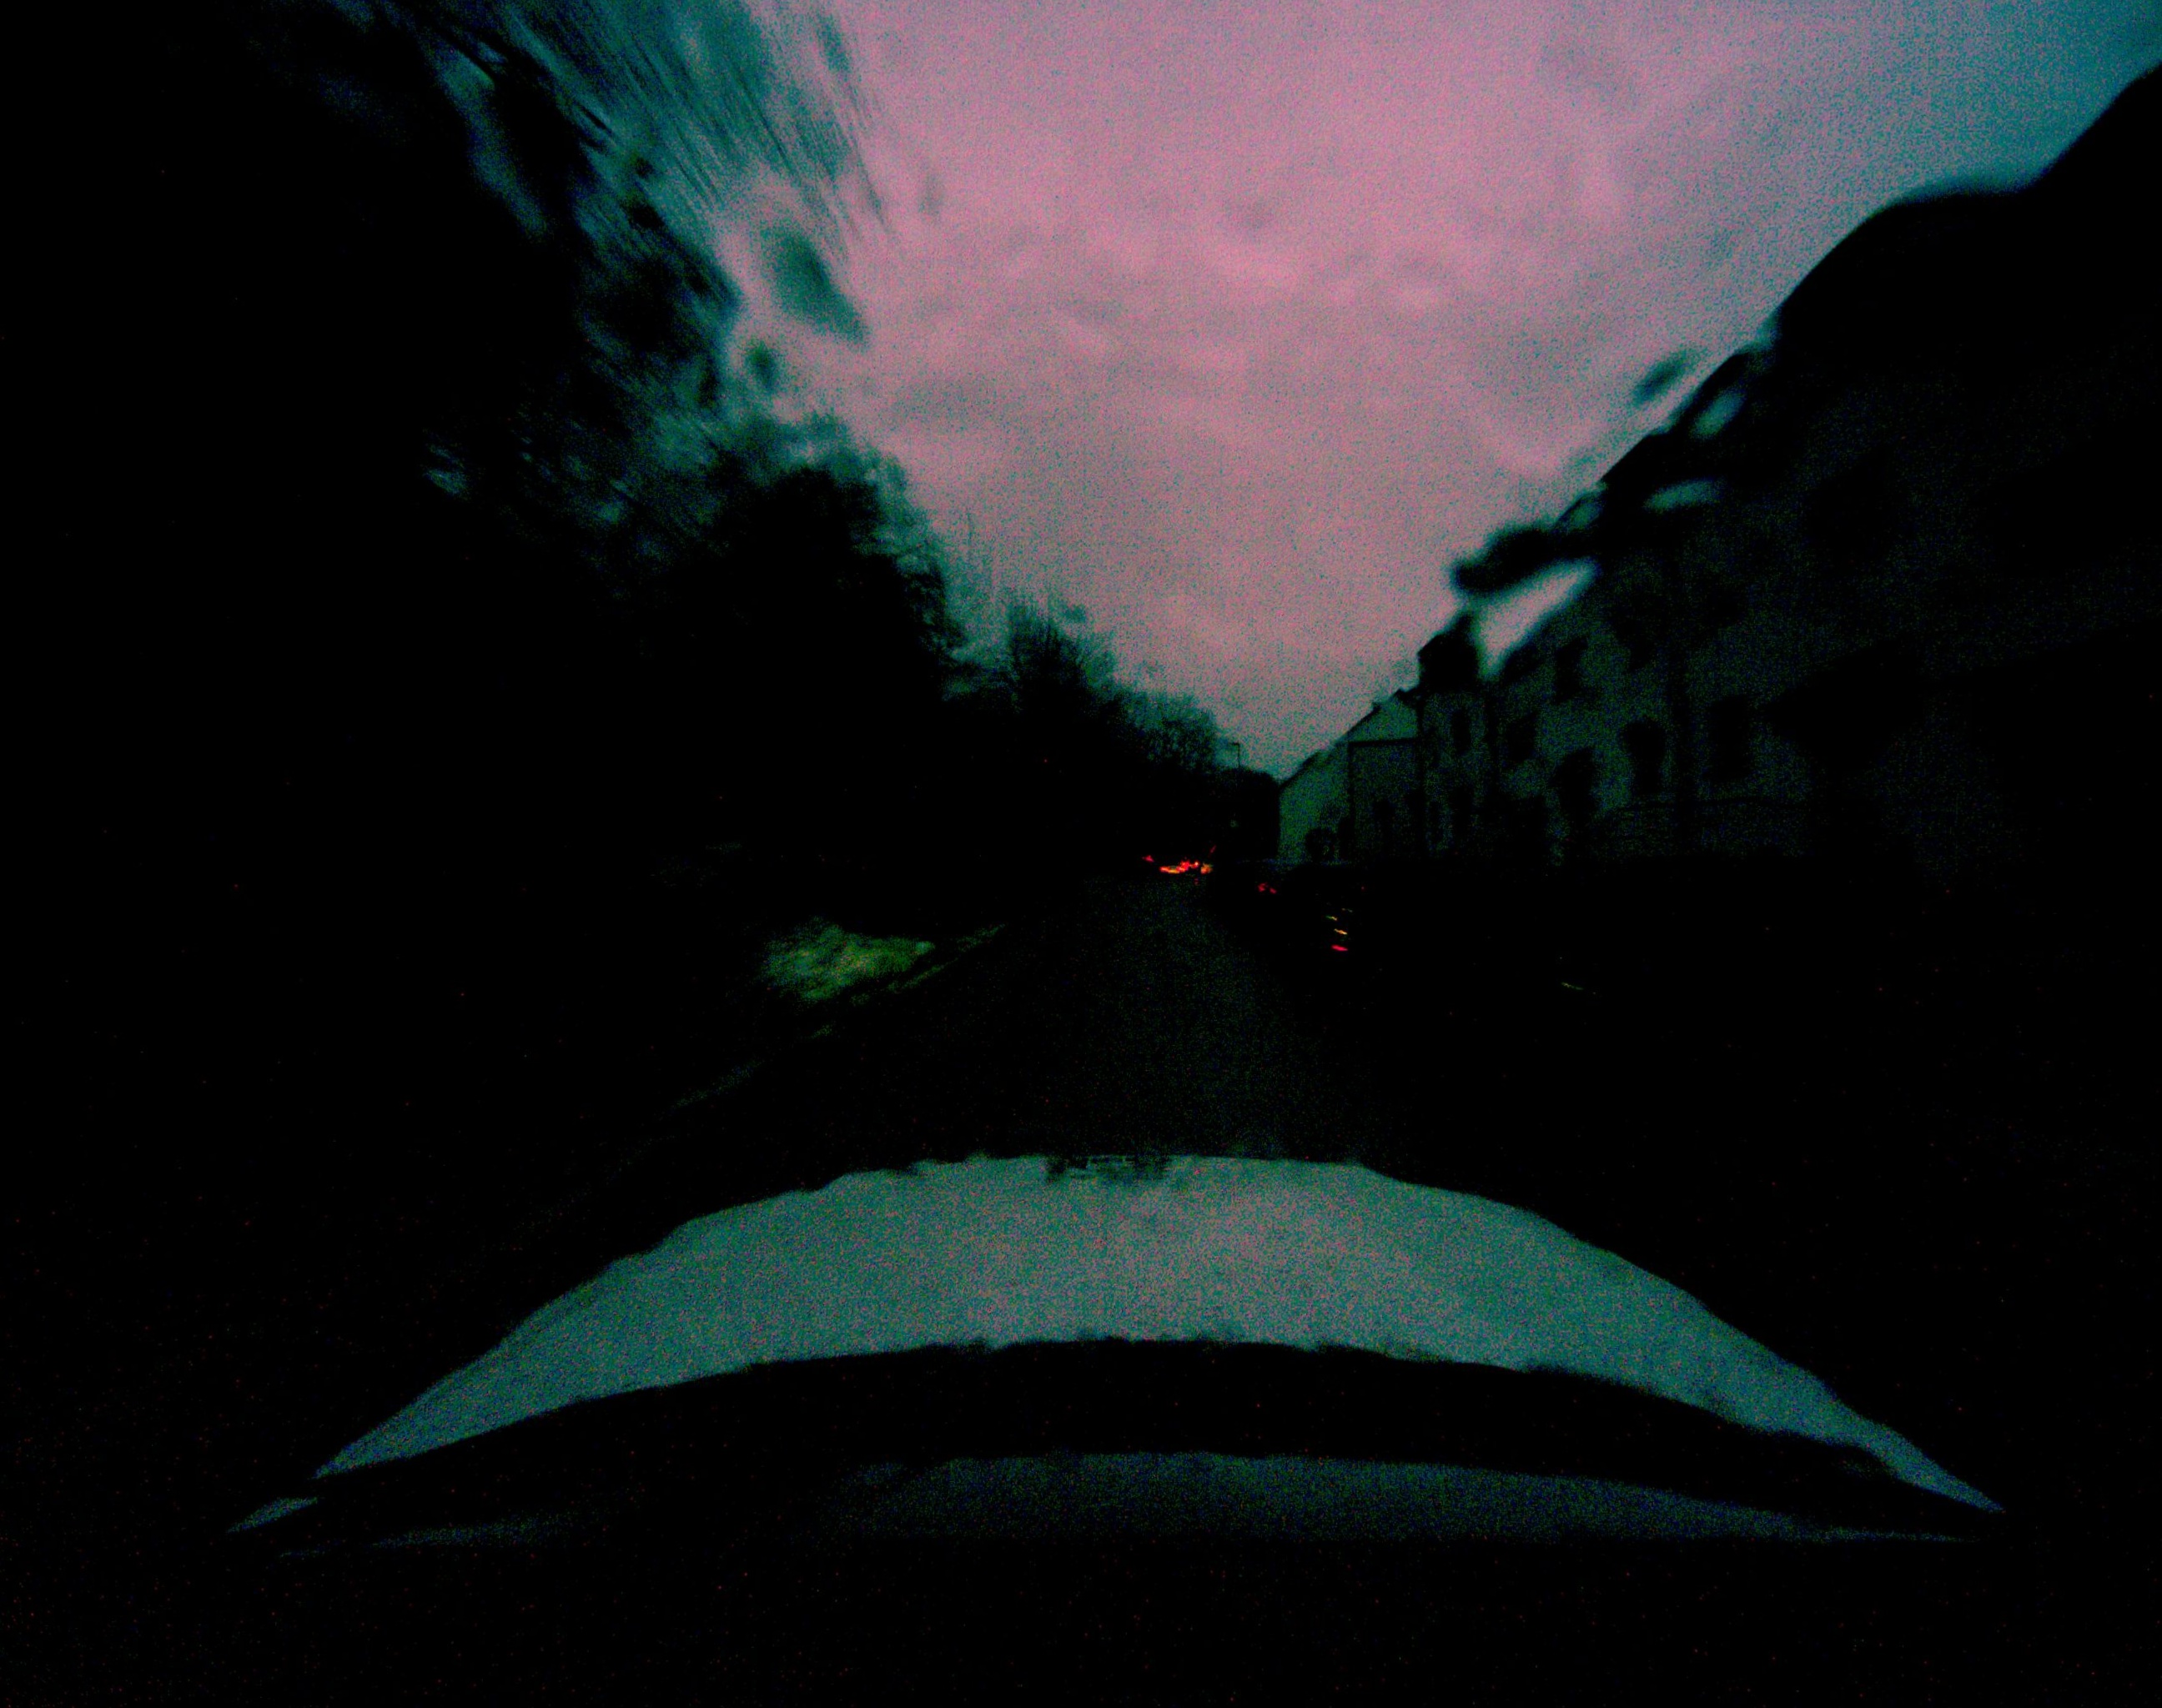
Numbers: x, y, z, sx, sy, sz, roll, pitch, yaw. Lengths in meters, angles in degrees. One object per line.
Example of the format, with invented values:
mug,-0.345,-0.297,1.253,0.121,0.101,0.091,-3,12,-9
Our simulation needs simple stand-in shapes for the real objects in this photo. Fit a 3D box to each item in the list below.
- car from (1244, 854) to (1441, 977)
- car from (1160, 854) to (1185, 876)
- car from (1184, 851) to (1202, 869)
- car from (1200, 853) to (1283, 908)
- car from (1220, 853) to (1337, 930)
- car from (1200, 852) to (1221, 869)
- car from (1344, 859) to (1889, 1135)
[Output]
car,3.521,0.738,11.851,1.648,1.390,4.537,-2,-1,4
car,7.762,0.886,69.372,1.924,1.781,4.005,-2,0,4
car,11.343,0.598,82.467,1.680,1.774,3.869,-2,0,8
car,4.542,0.709,23.606,1.731,1.429,4.460,0,0,3
car,4.084,0.720,17.550,1.648,1.429,4.567,0,0,3
car,12.122,0.627,75.841,1.692,1.506,4.038,-1,-1,12
car,3.450,0.764,6.321,1.648,1.390,4.126,-2,-1,3
